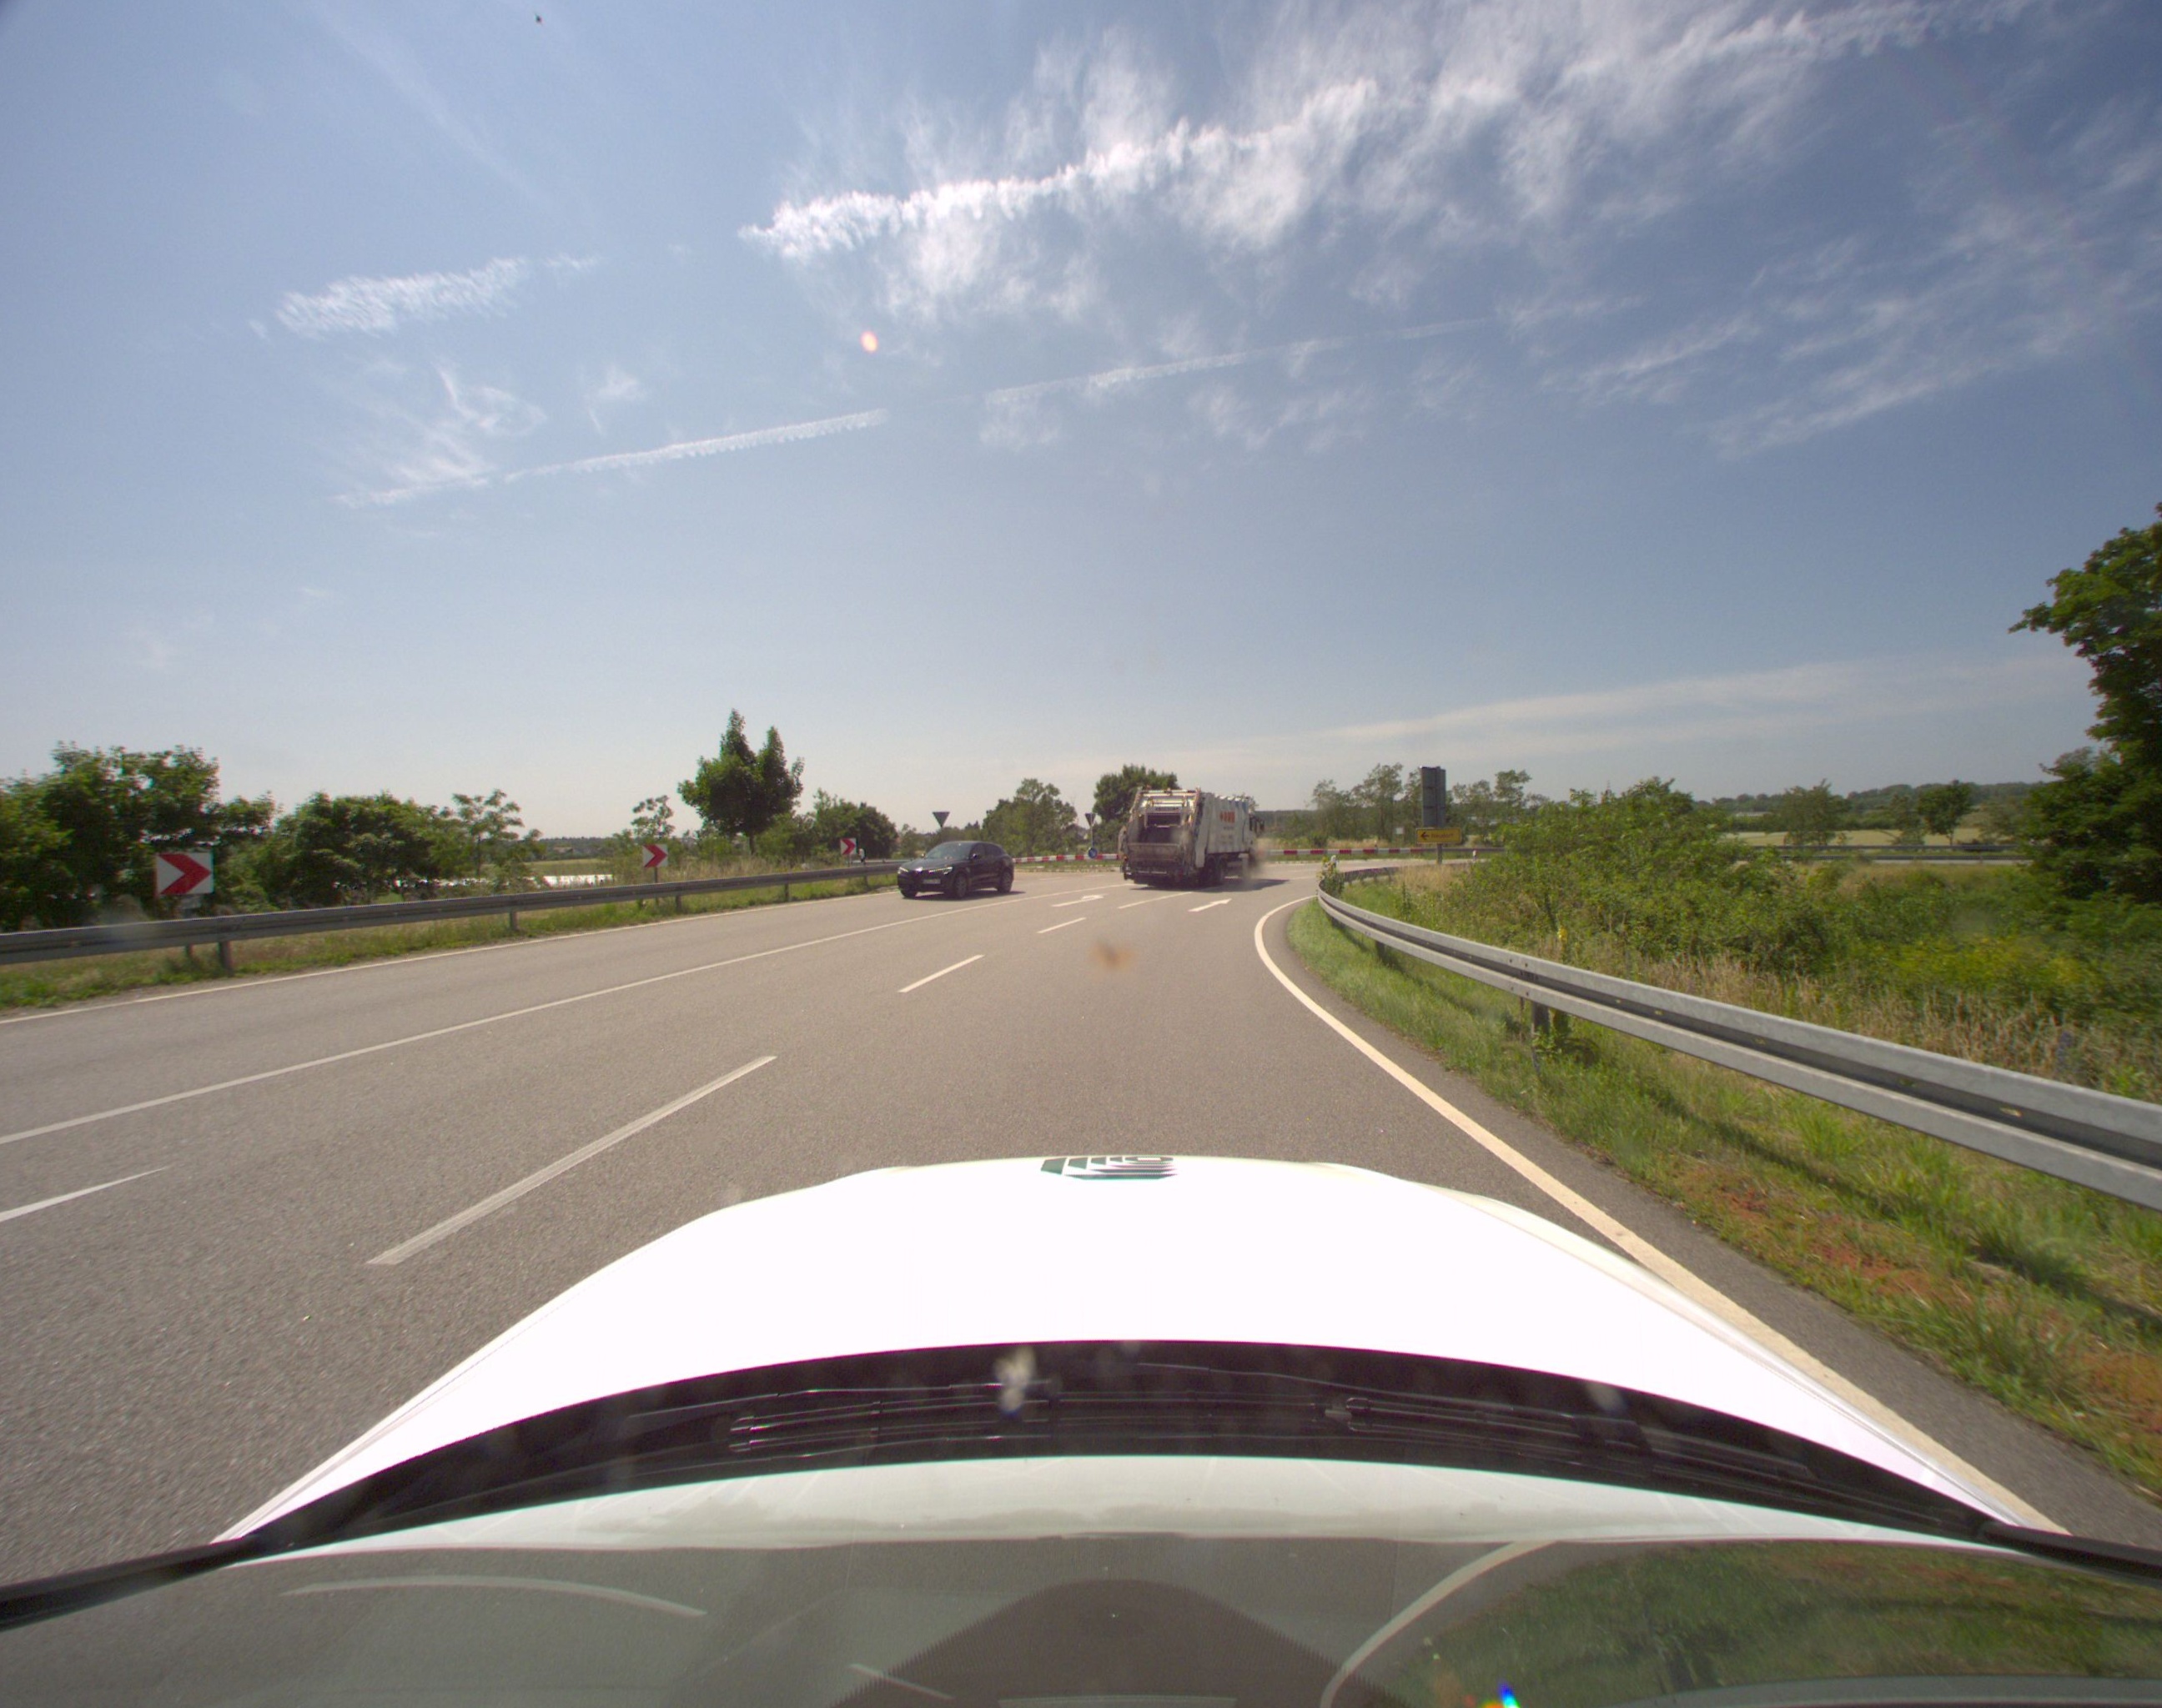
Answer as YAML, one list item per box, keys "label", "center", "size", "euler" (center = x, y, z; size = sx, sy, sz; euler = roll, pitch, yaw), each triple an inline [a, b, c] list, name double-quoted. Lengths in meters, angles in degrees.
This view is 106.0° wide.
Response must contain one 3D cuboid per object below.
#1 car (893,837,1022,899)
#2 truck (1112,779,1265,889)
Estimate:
- label: "car"
  center: [-3.617, 0.349, 24.779]
  size: [1.696, 1.657, 4.593]
  euler: [1, 1, 23]
- label: "truck"
  center: [4.624, -0.692, 32.364]
  size: [2.787, 3.669, 10.007]
  euler: [0, 0, 27]
